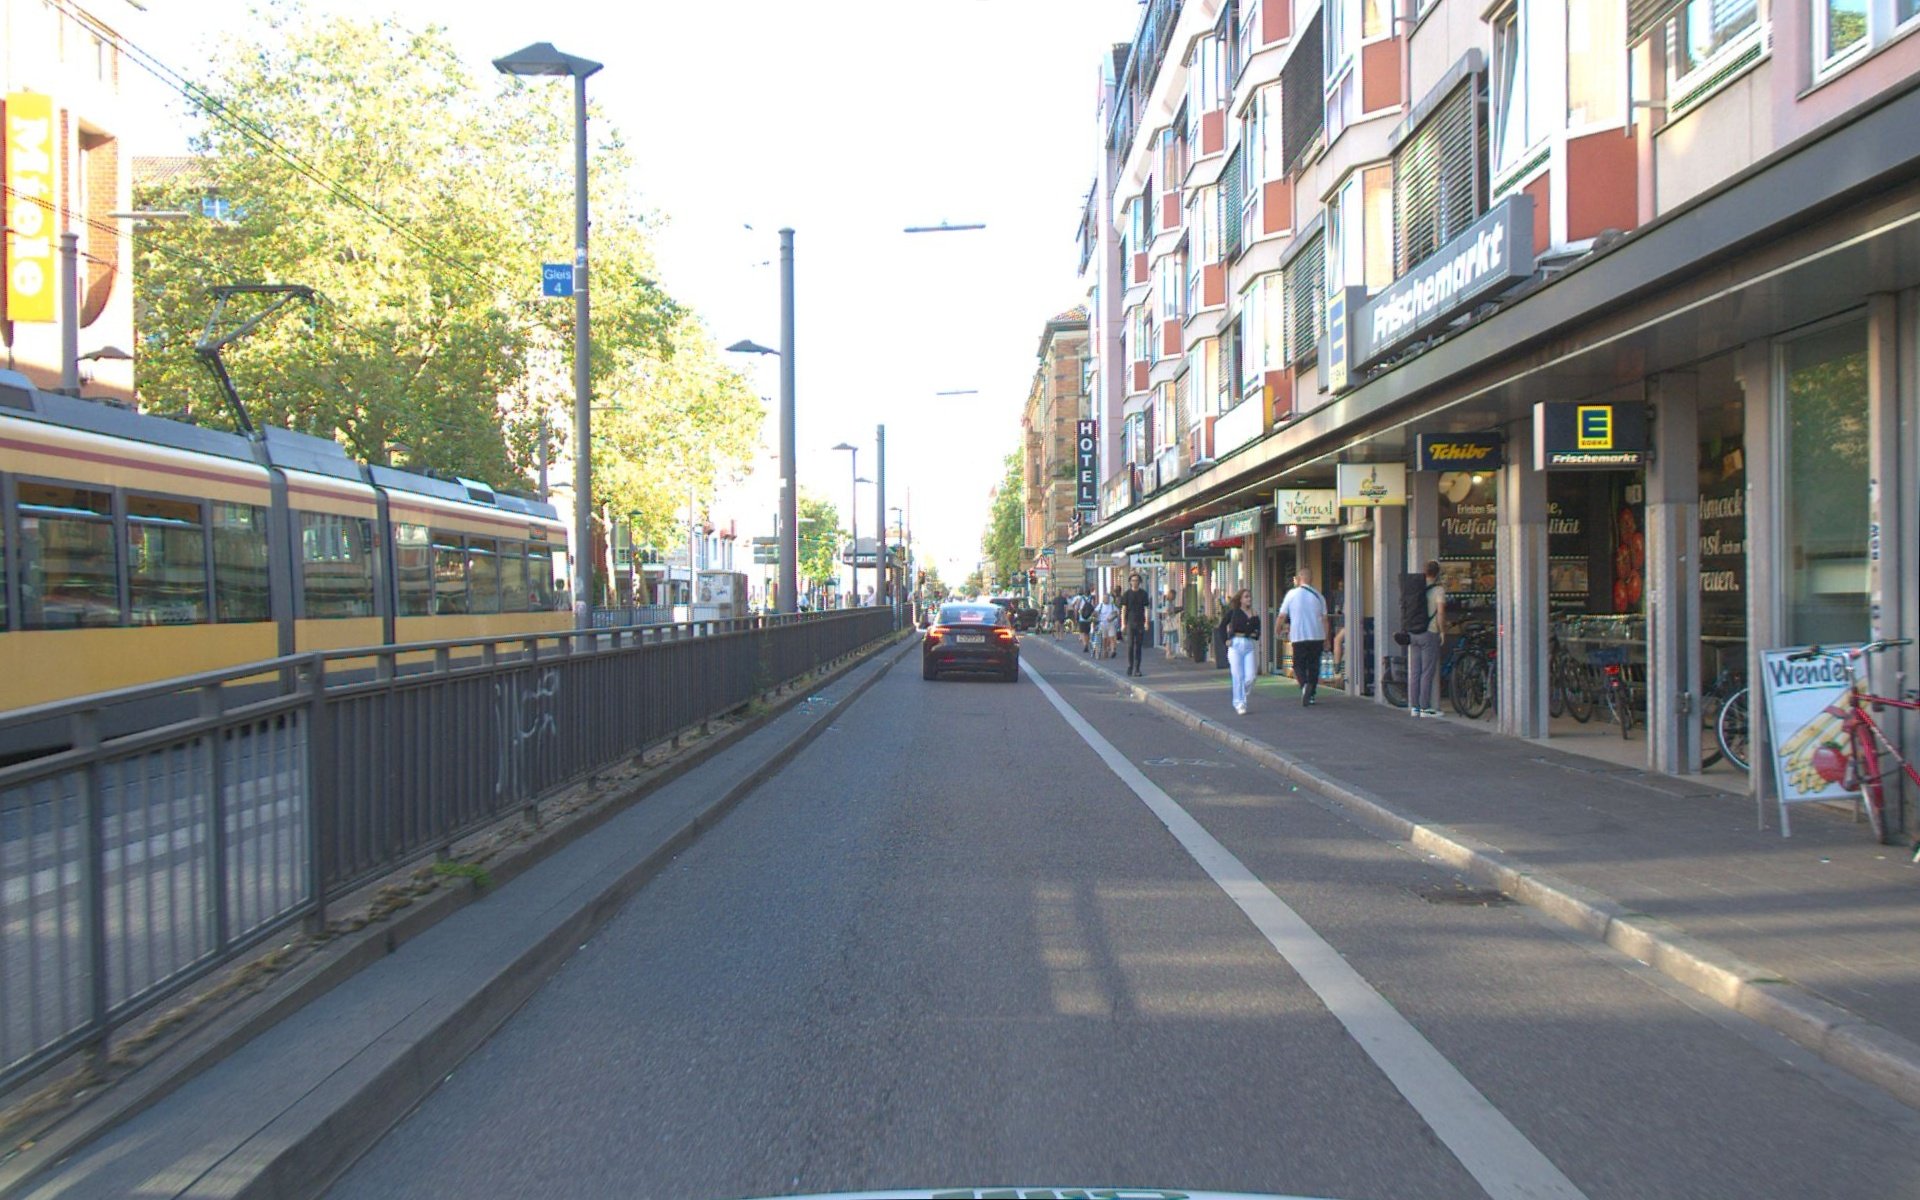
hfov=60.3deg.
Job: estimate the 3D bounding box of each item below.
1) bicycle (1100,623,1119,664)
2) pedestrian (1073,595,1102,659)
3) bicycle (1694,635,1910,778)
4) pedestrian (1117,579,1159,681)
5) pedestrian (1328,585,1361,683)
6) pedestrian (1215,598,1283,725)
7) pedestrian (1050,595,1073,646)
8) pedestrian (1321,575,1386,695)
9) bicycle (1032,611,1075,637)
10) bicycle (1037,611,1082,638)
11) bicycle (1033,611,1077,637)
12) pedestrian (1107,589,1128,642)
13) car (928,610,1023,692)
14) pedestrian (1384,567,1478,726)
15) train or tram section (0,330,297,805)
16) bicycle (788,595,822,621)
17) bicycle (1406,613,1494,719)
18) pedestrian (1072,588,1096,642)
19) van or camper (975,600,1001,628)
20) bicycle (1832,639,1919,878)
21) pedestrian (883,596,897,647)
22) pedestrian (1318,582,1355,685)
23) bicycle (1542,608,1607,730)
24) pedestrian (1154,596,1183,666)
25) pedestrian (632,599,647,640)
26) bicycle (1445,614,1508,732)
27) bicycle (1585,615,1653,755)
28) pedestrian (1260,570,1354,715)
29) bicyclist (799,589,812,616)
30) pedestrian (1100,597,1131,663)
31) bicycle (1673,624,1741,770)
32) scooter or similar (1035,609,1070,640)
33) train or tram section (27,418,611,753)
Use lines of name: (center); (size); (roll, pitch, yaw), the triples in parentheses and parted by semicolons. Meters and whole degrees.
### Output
bicycle: (3.822, 1.106, 42.318); (0.296, 1.007, 1.760); (-1, 0, -1)
pedestrian: (3.592, 0.762, 46.746); (0.729, 1.757, 0.814); (1, -1, 0)
bicycle: (6.516, 0.813, 12.821); (1.479, 1.059, 0.434); (0, 1, -3)
pedestrian: (3.398, 0.570, 31.651); (0.661, 1.893, 0.992); (-2, 0, 1)
pedestrian: (6.410, 0.563, 27.599); (0.446, 1.631, 0.464); (-1, 0, 3)
pedestrian: (3.663, 0.770, 21.008); (0.651, 1.547, 0.789); (-3, 0, 0)
pedestrian: (3.599, 0.736, 58.605); (0.653, 1.759, 0.810); (-3, -1, -1)
pedestrian: (5.676, 0.499, 23.886); (0.711, 1.664, 0.639); (-3, 0, 1)
bicycle: (4.246, 1.102, 75.040); (1.906, 1.126, 0.564); (-1, 0, -2)
bicycle: (4.334, 1.063, 72.364); (1.906, 1.126, 0.564); (-1, 0, -2)
bicycle: (4.276, 1.094, 74.393); (1.906, 1.126, 0.564); (-1, 0, -2)
pedestrian: (5.370, 0.530, 56.407); (0.616, 1.800, 0.501); (-2, 0, 0)
car: (0.255, 0.939, 31.856); (1.684, 1.430, 3.709); (2, 0, -1)
pedestrian: (5.403, 0.526, 18.993); (0.774, 1.751, 0.588); (-3, 0, -18)
train or tram section: (-8.969, -0.279, 11.578); (2.913, 3.708, 13.943); (1, 0, 0)
bicycle: (-9.027, 0.462, 96.262); (1.917, 1.543, 0.632); (0, 0, -17)
bicycle: (6.048, 0.790, 20.375); (1.375, 1.258, 0.403); (0, -1, -44)
pedestrian: (4.394, 0.541, 58.620); (0.691, 1.852, 0.763); (-3, -1, 0)
van or camper: (2.130, 1.084, 128.085); (1.891, 2.072, 5.474); (1, -1, 0)
bicycle: (4.930, 0.782, 8.141); (0.505, 1.147, 1.406); (-1, 0, -1)
pedestrian: (-2.230, 0.690, 52.396); (0.415, 1.601, 0.448); (0, 0, 0)
pedestrian: (6.098, 0.538, 26.815); (0.505, 1.661, 0.522); (-1, 0, 5)
bicycle: (6.905, 0.738, 18.550); (0.563, 1.276, 2.115); (1, 0, 23)
pedestrian: (4.901, 0.724, 38.823); (0.588, 1.618, 0.553); (-1, 0, 0)
pedestrian: (-16.130, 0.997, 83.179); (0.688, 2.049, 0.688); (0, 0, -9)
bicycle: (5.973, 0.803, 19.074); (0.460, 1.273, 2.083); (-1, 0, 23)
bicycle: (6.440, 0.781, 16.118); (0.544, 1.258, 2.083); (-1, 0, 23)
pedestrian: (4.550, 0.548, 21.751); (0.888, 1.806, 1.050); (-4, 0, 0)
bicyclist: (-9.006, 0.161, 96.270); (0.668, 1.543, 0.632); (0, 0, -16)
pedestrian: (3.975, 0.763, 42.236); (0.649, 1.659, 0.705); (-3, 0, -1)
bicycle: (7.040, 0.874, 15.632); (0.544, 1.258, 2.083); (-1, 0, 23)
scooter or similar: (3.996, 1.068, 71.708); (1.448, 1.250, 0.591); (-3, -1, 0)
train or tram section: (-8.926, -0.216, 26.795); (2.913, 3.708, 16.486); (1, 0, 0)
